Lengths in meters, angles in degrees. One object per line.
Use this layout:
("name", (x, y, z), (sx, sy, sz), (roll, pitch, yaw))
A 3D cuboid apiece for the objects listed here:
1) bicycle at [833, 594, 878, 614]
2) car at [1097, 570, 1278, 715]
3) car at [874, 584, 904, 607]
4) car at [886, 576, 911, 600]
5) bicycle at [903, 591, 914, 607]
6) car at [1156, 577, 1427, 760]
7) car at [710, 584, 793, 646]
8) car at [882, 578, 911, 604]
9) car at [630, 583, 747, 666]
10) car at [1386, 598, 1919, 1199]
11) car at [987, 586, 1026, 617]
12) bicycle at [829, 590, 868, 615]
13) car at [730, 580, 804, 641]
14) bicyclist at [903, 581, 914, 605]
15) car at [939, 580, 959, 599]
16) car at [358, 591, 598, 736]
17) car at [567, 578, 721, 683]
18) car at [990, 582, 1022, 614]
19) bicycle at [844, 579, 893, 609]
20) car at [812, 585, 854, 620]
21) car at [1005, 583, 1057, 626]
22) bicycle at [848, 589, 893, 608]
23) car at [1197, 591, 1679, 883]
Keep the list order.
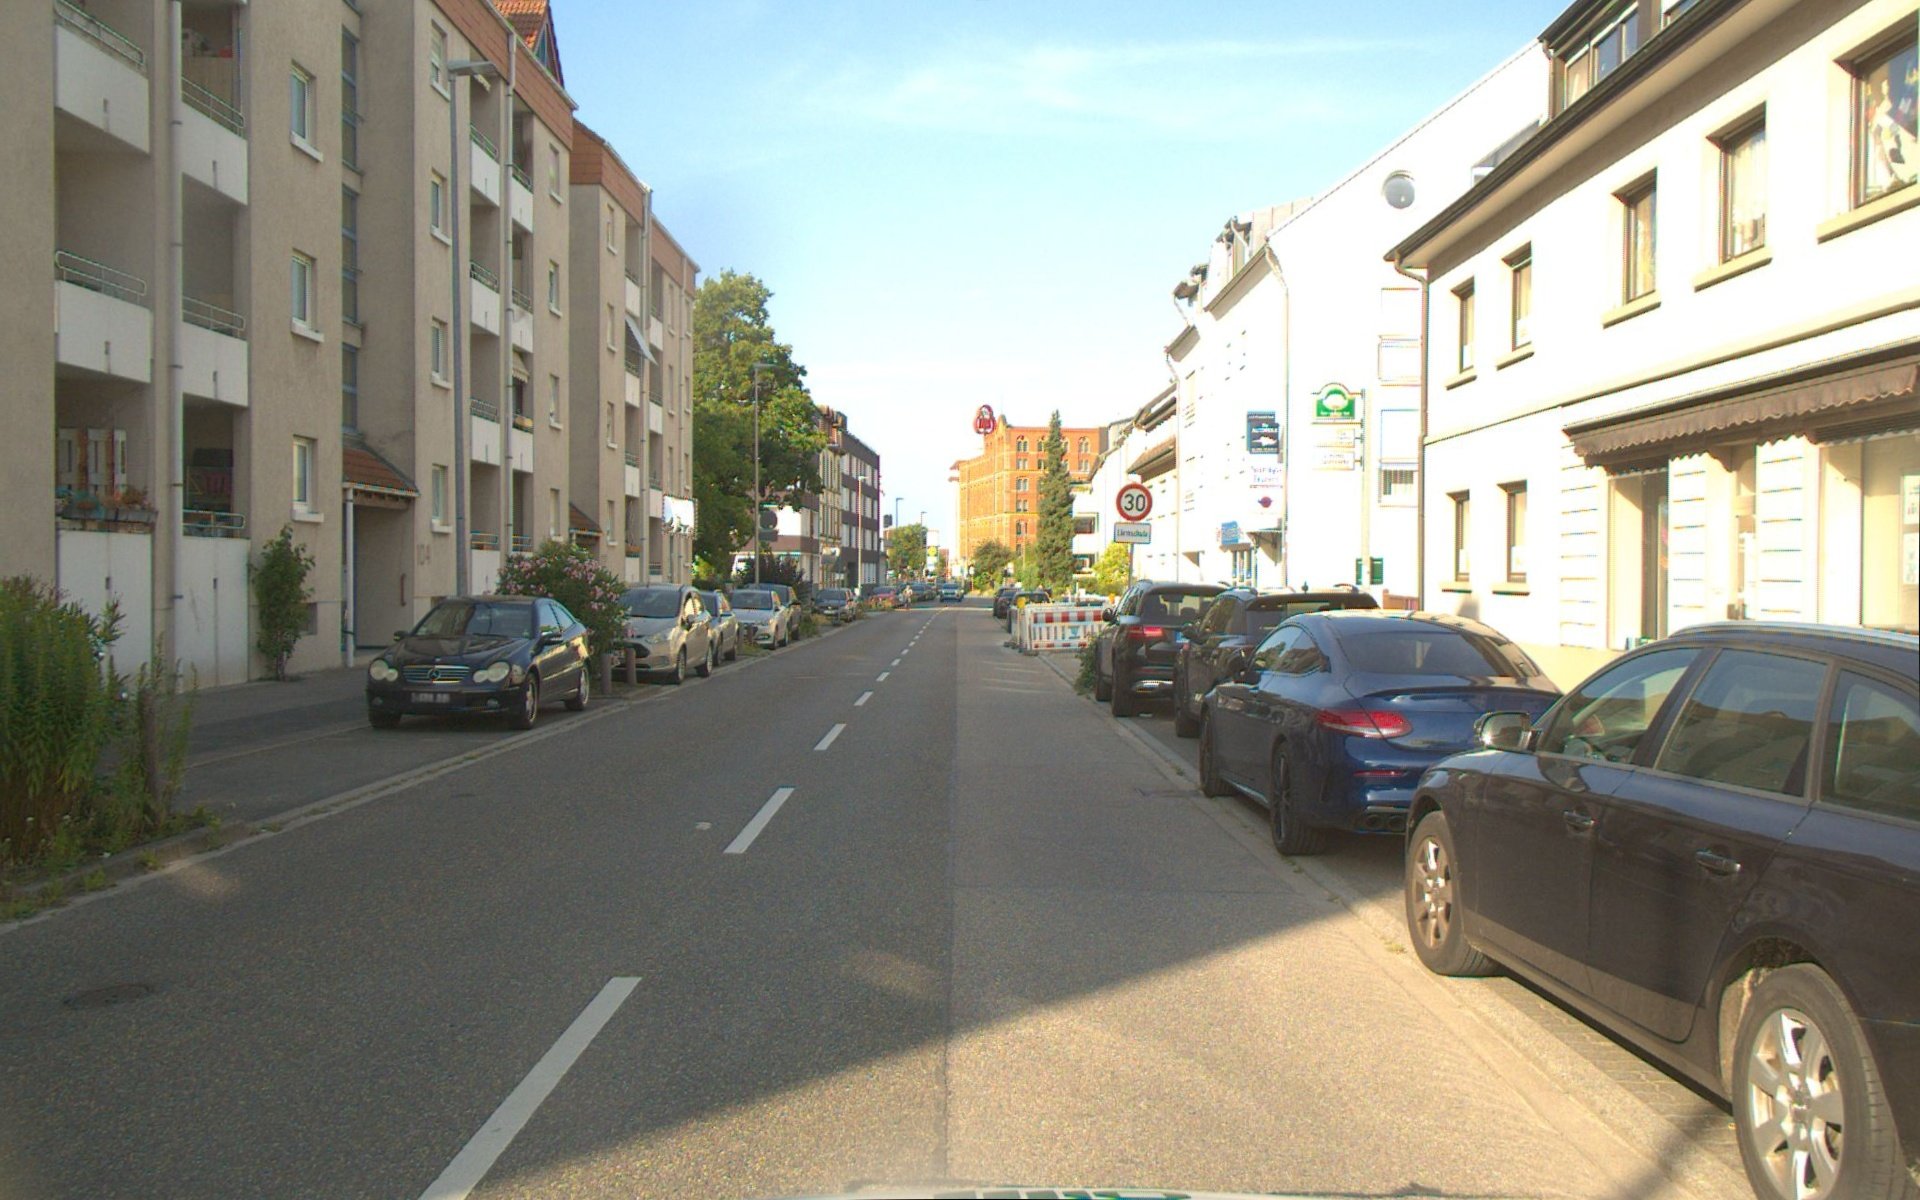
("bicycle", (-5.365, 0.199, 84.976), (2.294, 0.987, 0.707), (0, 0, -6))
("car", (2.830, 0.475, 21.455), (1.792, 1.658, 4.464), (-1, 1, 1))
("car", (-4.725, -0.339, 110.641), (1.802, 1.489, 3.585), (0, 1, 0))
("car", (-5.074, -1.011, 136.815), (1.952, 1.914, 4.000), (0, 1, 0))
("bicycle", (-3.271, -0.081, 105.377), (0.596, 0.959, 1.811), (-1, 1, 1))
("car", (3.179, 0.581, 16.732), (1.793, 1.587, 4.316), (-1, 1, -1))
("car", (-5.308, 0.338, 42.549), (1.652, 1.480, 4.140), (1, 1, -1))
("car", (-4.664, -0.693, 121.423), (1.952, 1.867, 3.690), (0, 0, 1))
("car", (-5.508, 0.456, 34.004), (1.771, 1.547, 4.369), (1, 1, -2))
("car", (2.804, 0.747, 5.115), (1.743, 1.445, 4.495), (0, 1, -1))
("car", (2.362, 0.037, 85.428), (1.821, 1.497, 4.000), (2, 1, 0))
("bicycle", (-5.693, 0.120, 84.115), (1.962, 1.238, 0.707), (0, 0, -6))
("car", (-5.507, 0.269, 47.646), (1.651, 1.631, 4.370), (1, 1, -1))
("bicyclist", (-3.277, -0.448, 105.376), (0.578, 1.467, 0.751), (-1, 0, 1))
("car", (-0.976, -0.907, 146.156), (1.727, 1.644, 4.000), (-1, 1, 0))
("car", (-5.377, 0.643, 18.954), (1.652, 1.430, 4.082), (1, 1, -2))
("car", (-5.168, 0.445, 27.531), (1.691, 1.582, 3.966), (1, 1, 1))
("car", (2.501, -0.126, 90.729), (1.569, 1.674, 3.685), (1, 1, 0))
("bicycle", (-5.566, -0.369, 100.932), (2.857, 1.808, 1.202), (0, 0, 1))
("car", (-5.514, 0.087, 72.232), (1.541, 1.445, 3.803), (1, 1, -1))
("car", (2.593, 0.151, 61.146), (1.792, 1.508, 3.943), (0, 1, 1))
("bicycle", (-5.559, -0.100, 102.706), (2.715, 1.164, 1.143), (0, 0, 1))
("car", (2.763, 0.687, 10.720), (1.792, 1.445, 4.609), (0, 1, 0))
